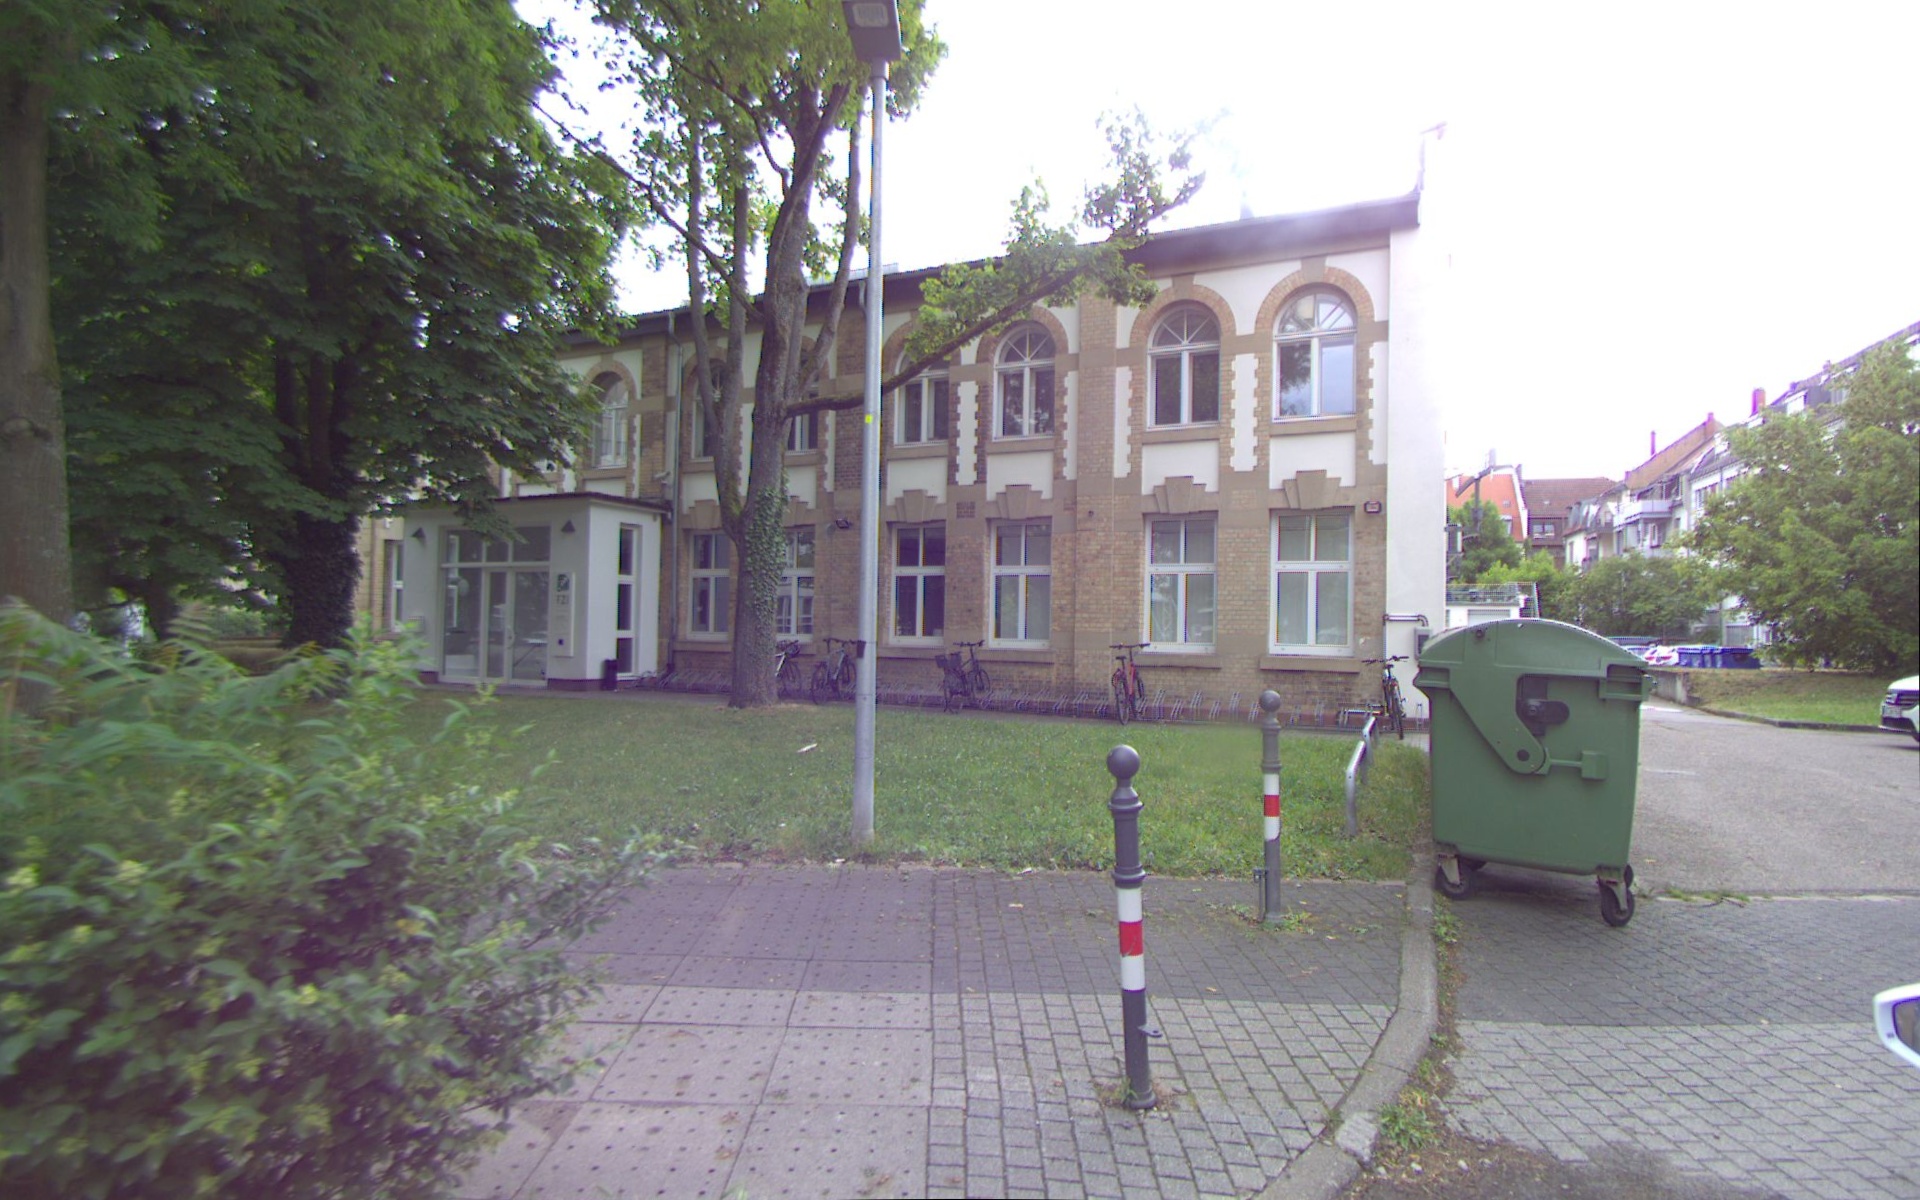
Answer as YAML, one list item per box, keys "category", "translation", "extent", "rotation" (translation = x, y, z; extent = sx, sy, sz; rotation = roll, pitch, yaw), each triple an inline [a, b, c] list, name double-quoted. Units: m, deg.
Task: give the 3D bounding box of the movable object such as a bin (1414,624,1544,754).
- category: "movable object such as a bin"
  translation: [5.616, 0.911, 10.847]
  extent: [1.039, 1.281, 1.349]
  rotation: [0, -1, 37]

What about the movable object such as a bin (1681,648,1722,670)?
- category: "movable object such as a bin"
  translation: [24.468, 1.957, 33.174]
  extent: [0.950, 0.688, 0.810]
  rotation: [1, -3, 27]

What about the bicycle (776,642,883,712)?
- category: "bicycle"
  translation: [-2.253, 1.306, 17.625]
  extent: [0.608, 1.134, 2.217]
  rotation: [0, -2, 31]

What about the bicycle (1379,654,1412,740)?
- category: "bicycle"
  translation: [6.087, 1.324, 14.076]
  extent: [0.388, 1.079, 1.828]
  rotation: [1, -2, 23]

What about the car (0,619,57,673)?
- category: "car"
  translation: [-24.270, 1.115, 24.635]
  extent: [1.485, 1.320, 3.177]
  rotation: [1, -1, -5]

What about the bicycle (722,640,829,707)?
- category: "bicycle"
  translation: [-3.345, 1.307, 18.401]
  extent: [0.608, 1.134, 2.217]
  rotation: [0, -2, 31]

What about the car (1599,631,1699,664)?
- category: "car"
  translation: [35.336, 2.422, 51.581]
  extent: [3.919, 1.595, 1.586]
  rotation: [0, -1, 15]

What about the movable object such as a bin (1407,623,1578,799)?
- category: "movable object such as a bin"
  translation: [4.270, 0.835, 8.183]
  extent: [1.035, 1.281, 1.354]
  rotation: [0, -1, 19]

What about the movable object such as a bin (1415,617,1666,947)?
- category: "movable object such as a bin"
  translation: [3.119, 0.838, 5.393]
  extent: [1.038, 1.469, 1.351]
  rotation: [0, 0, 33]

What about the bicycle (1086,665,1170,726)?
- category: "bicycle"
  translation: [2.613, 1.443, 15.454]
  extent: [0.608, 0.824, 1.941]
  rotation: [0, -2, 31]

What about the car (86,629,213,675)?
- category: "car"
  translation: [-24.838, 1.559, 30.900]
  extent: [1.485, 1.320, 3.177]
  rotation: [1, -1, -5]

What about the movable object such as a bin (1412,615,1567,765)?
- category: "movable object such as a bin"
  translation: [4.922, 0.795, 9.445]
  extent: [1.034, 1.281, 1.354]
  rotation: [0, -1, 16]

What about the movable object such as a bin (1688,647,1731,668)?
- category: "movable object such as a bin"
  translation: [24.005, 1.849, 32.172]
  extent: [0.950, 0.645, 0.910]
  rotation: [1, -3, 26]

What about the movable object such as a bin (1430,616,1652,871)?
- category: "movable object such as a bin"
  translation: [3.806, 0.874, 6.731]
  extent: [1.035, 1.475, 1.354]
  rotation: [1, -2, 19]

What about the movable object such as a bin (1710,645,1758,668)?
- category: "movable object such as a bin"
  translation: [23.015, 1.674, 29.884]
  extent: [0.950, 0.645, 0.910]
  rotation: [1, -3, 26]

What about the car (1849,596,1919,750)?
- category: "car"
  translation: [14.994, 1.040, 13.419]
  extent: [4.266, 2.040, 1.855]
  rotation: [1, -2, 21]

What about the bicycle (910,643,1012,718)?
- category: "bicycle"
  translation: [0.053, 1.277, 16.407]
  extent: [0.608, 1.134, 2.217]
  rotation: [0, -2, 31]

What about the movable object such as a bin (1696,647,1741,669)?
- category: "movable object such as a bin"
  translation: [23.435, 1.793, 31.069]
  extent: [0.950, 0.645, 0.910]
  rotation: [1, -3, 26]

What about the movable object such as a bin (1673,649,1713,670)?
- category: "movable object such as a bin"
  translation: [24.865, 2.014, 34.070]
  extent: [0.950, 0.688, 0.870]
  rotation: [1, -3, 27]

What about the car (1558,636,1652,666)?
- category: "car"
  translation: [36.719, 2.884, 57.305]
  extent: [4.111, 1.595, 2.001]
  rotation: [0, -1, 15]

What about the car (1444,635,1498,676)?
- category: "car"
  translation: [20.516, 2.232, 40.470]
  extent: [1.819, 1.527, 3.997]
  rotation: [1, -3, 26]
